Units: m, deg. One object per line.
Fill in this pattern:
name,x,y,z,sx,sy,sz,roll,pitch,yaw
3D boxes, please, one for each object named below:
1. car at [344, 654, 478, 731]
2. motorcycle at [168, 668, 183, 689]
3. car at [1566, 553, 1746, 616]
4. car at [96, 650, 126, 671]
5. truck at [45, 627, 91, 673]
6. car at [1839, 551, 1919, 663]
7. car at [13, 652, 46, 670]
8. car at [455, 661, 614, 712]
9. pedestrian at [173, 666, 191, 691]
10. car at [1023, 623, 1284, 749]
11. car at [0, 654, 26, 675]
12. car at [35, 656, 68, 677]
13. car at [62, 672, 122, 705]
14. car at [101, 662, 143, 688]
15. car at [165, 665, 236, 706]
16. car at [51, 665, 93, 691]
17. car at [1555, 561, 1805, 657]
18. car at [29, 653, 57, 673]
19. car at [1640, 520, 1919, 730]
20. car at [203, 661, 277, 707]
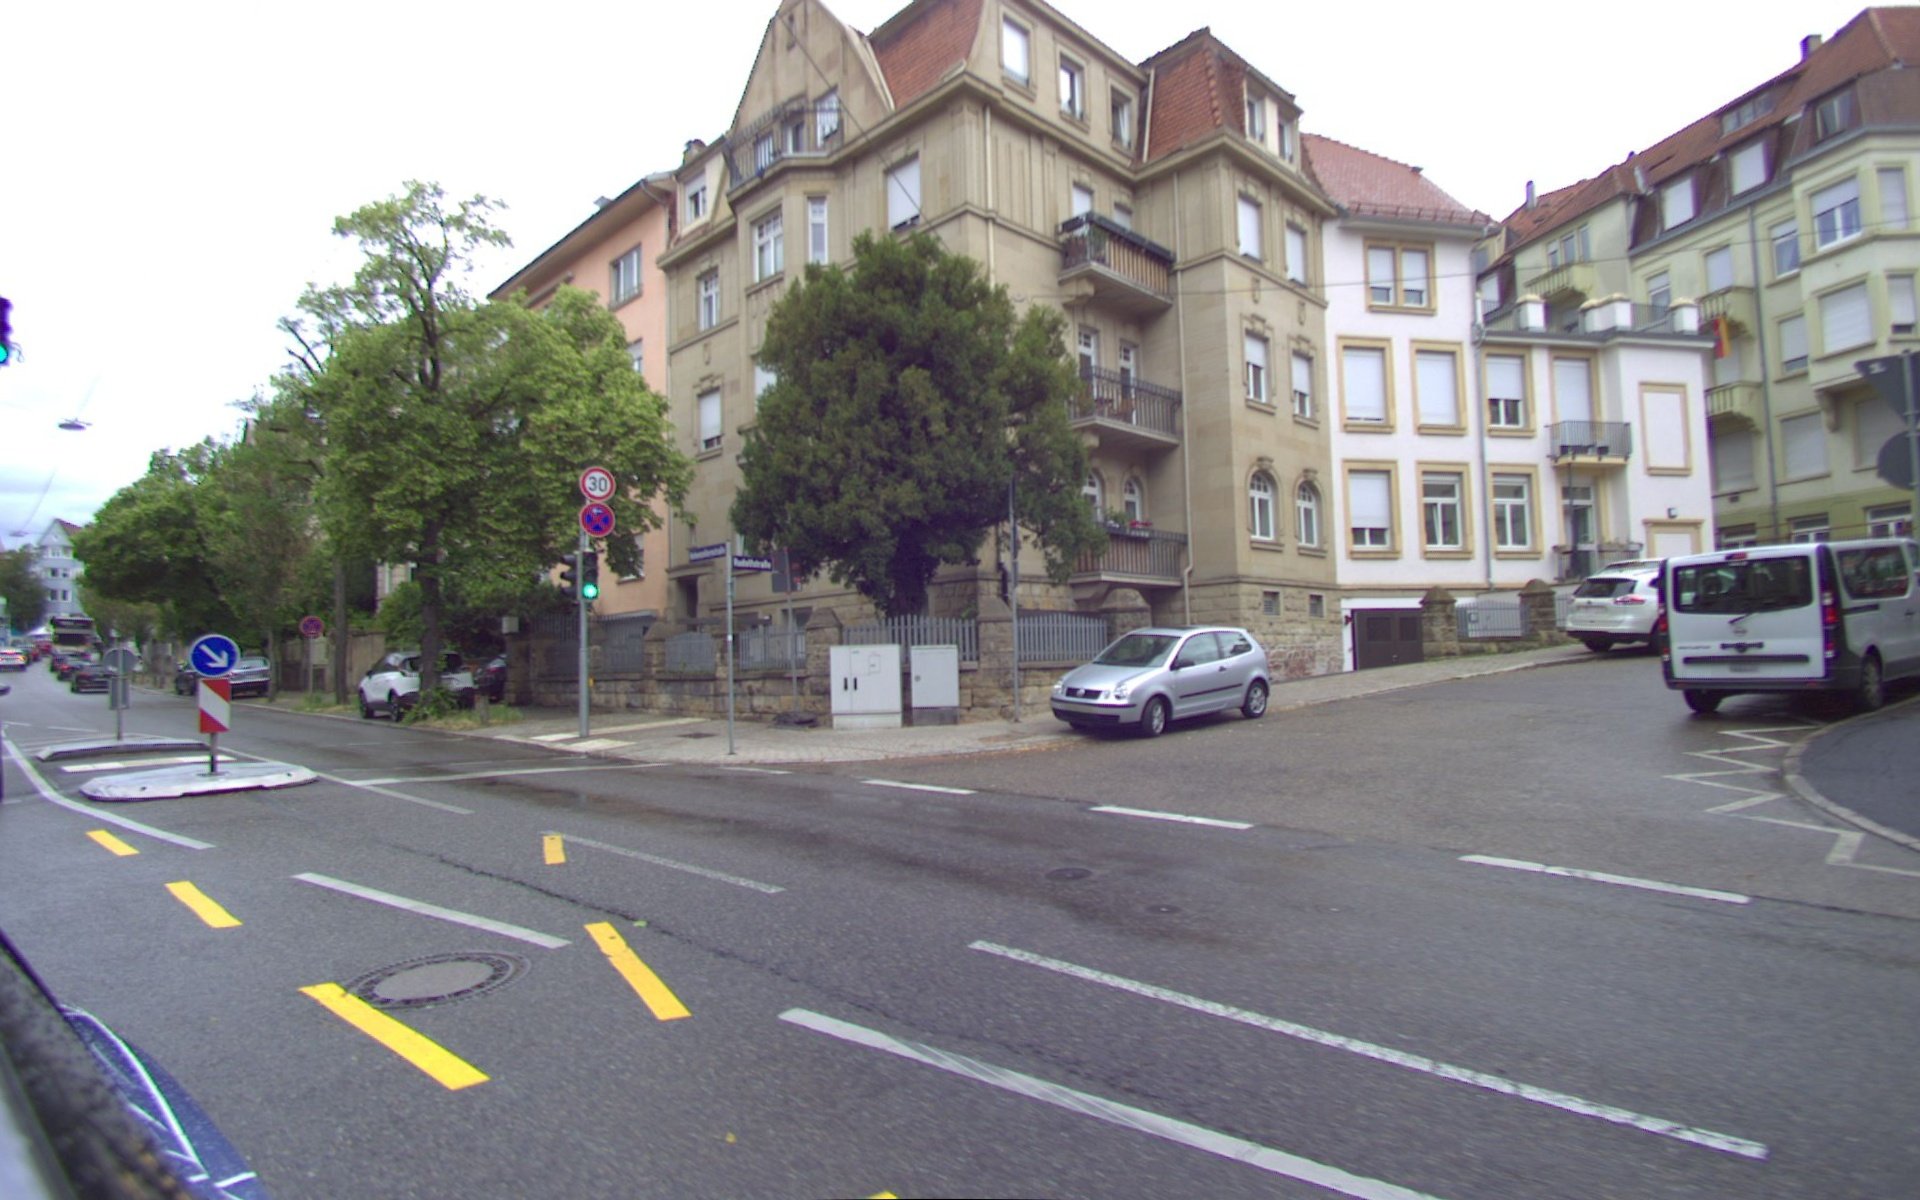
car,-13.328,2.148,24.451,1.721,1.571,4.305,-1,-1,-44
motorcycle,-49.908,4.995,64.394,0.647,1.246,1.765,2,-3,-41
car,18.402,-0.433,26.825,3.772,1.485,1.780,-2,2,-11
car,-74.796,5.276,89.174,1.971,1.607,3.834,-3,0,-40
truck,-78.263,4.429,88.734,2.616,3.884,9.316,4,-5,-42
car,15.752,-0.109,14.908,4.369,1.525,2.120,-7,-2,-17
car,-79.525,5.206,86.541,1.689,1.491,4.121,4,-5,-38
car,-12.526,2.519,29.944,1.837,1.337,3.942,-4,-4,43
pedestrian,-46.405,4.677,60.364,0.757,1.443,0.650,2,-3,-43
car,2.986,1.176,15.261,3.814,1.419,1.829,-3,2,-40
car,-70.276,4.749,74.797,1.750,1.529,4.104,2,-3,-42
car,-68.490,4.993,76.340,1.750,1.479,4.754,2,-3,-41
car,-42.952,4.387,50.052,4.549,1.529,1.795,-5,-6,44
car,-58.037,5.150,70.087,4.302,1.571,1.722,-2,-1,43
car,-34.065,3.803,45.341,4.301,1.571,1.723,-2,0,42
car,-57.383,5.016,65.392,1.752,1.529,4.593,0,-2,-45
car,14.683,0.138,20.725,4.089,1.687,1.925,-2,2,-13
car,-86.695,5.926,95.731,1.631,1.721,4.122,4,-3,-38
car,10.913,0.177,12.680,4.600,2.063,2.031,-6,0,-30
car,-28.266,3.244,39.694,1.721,1.571,4.305,-1,-1,-44
